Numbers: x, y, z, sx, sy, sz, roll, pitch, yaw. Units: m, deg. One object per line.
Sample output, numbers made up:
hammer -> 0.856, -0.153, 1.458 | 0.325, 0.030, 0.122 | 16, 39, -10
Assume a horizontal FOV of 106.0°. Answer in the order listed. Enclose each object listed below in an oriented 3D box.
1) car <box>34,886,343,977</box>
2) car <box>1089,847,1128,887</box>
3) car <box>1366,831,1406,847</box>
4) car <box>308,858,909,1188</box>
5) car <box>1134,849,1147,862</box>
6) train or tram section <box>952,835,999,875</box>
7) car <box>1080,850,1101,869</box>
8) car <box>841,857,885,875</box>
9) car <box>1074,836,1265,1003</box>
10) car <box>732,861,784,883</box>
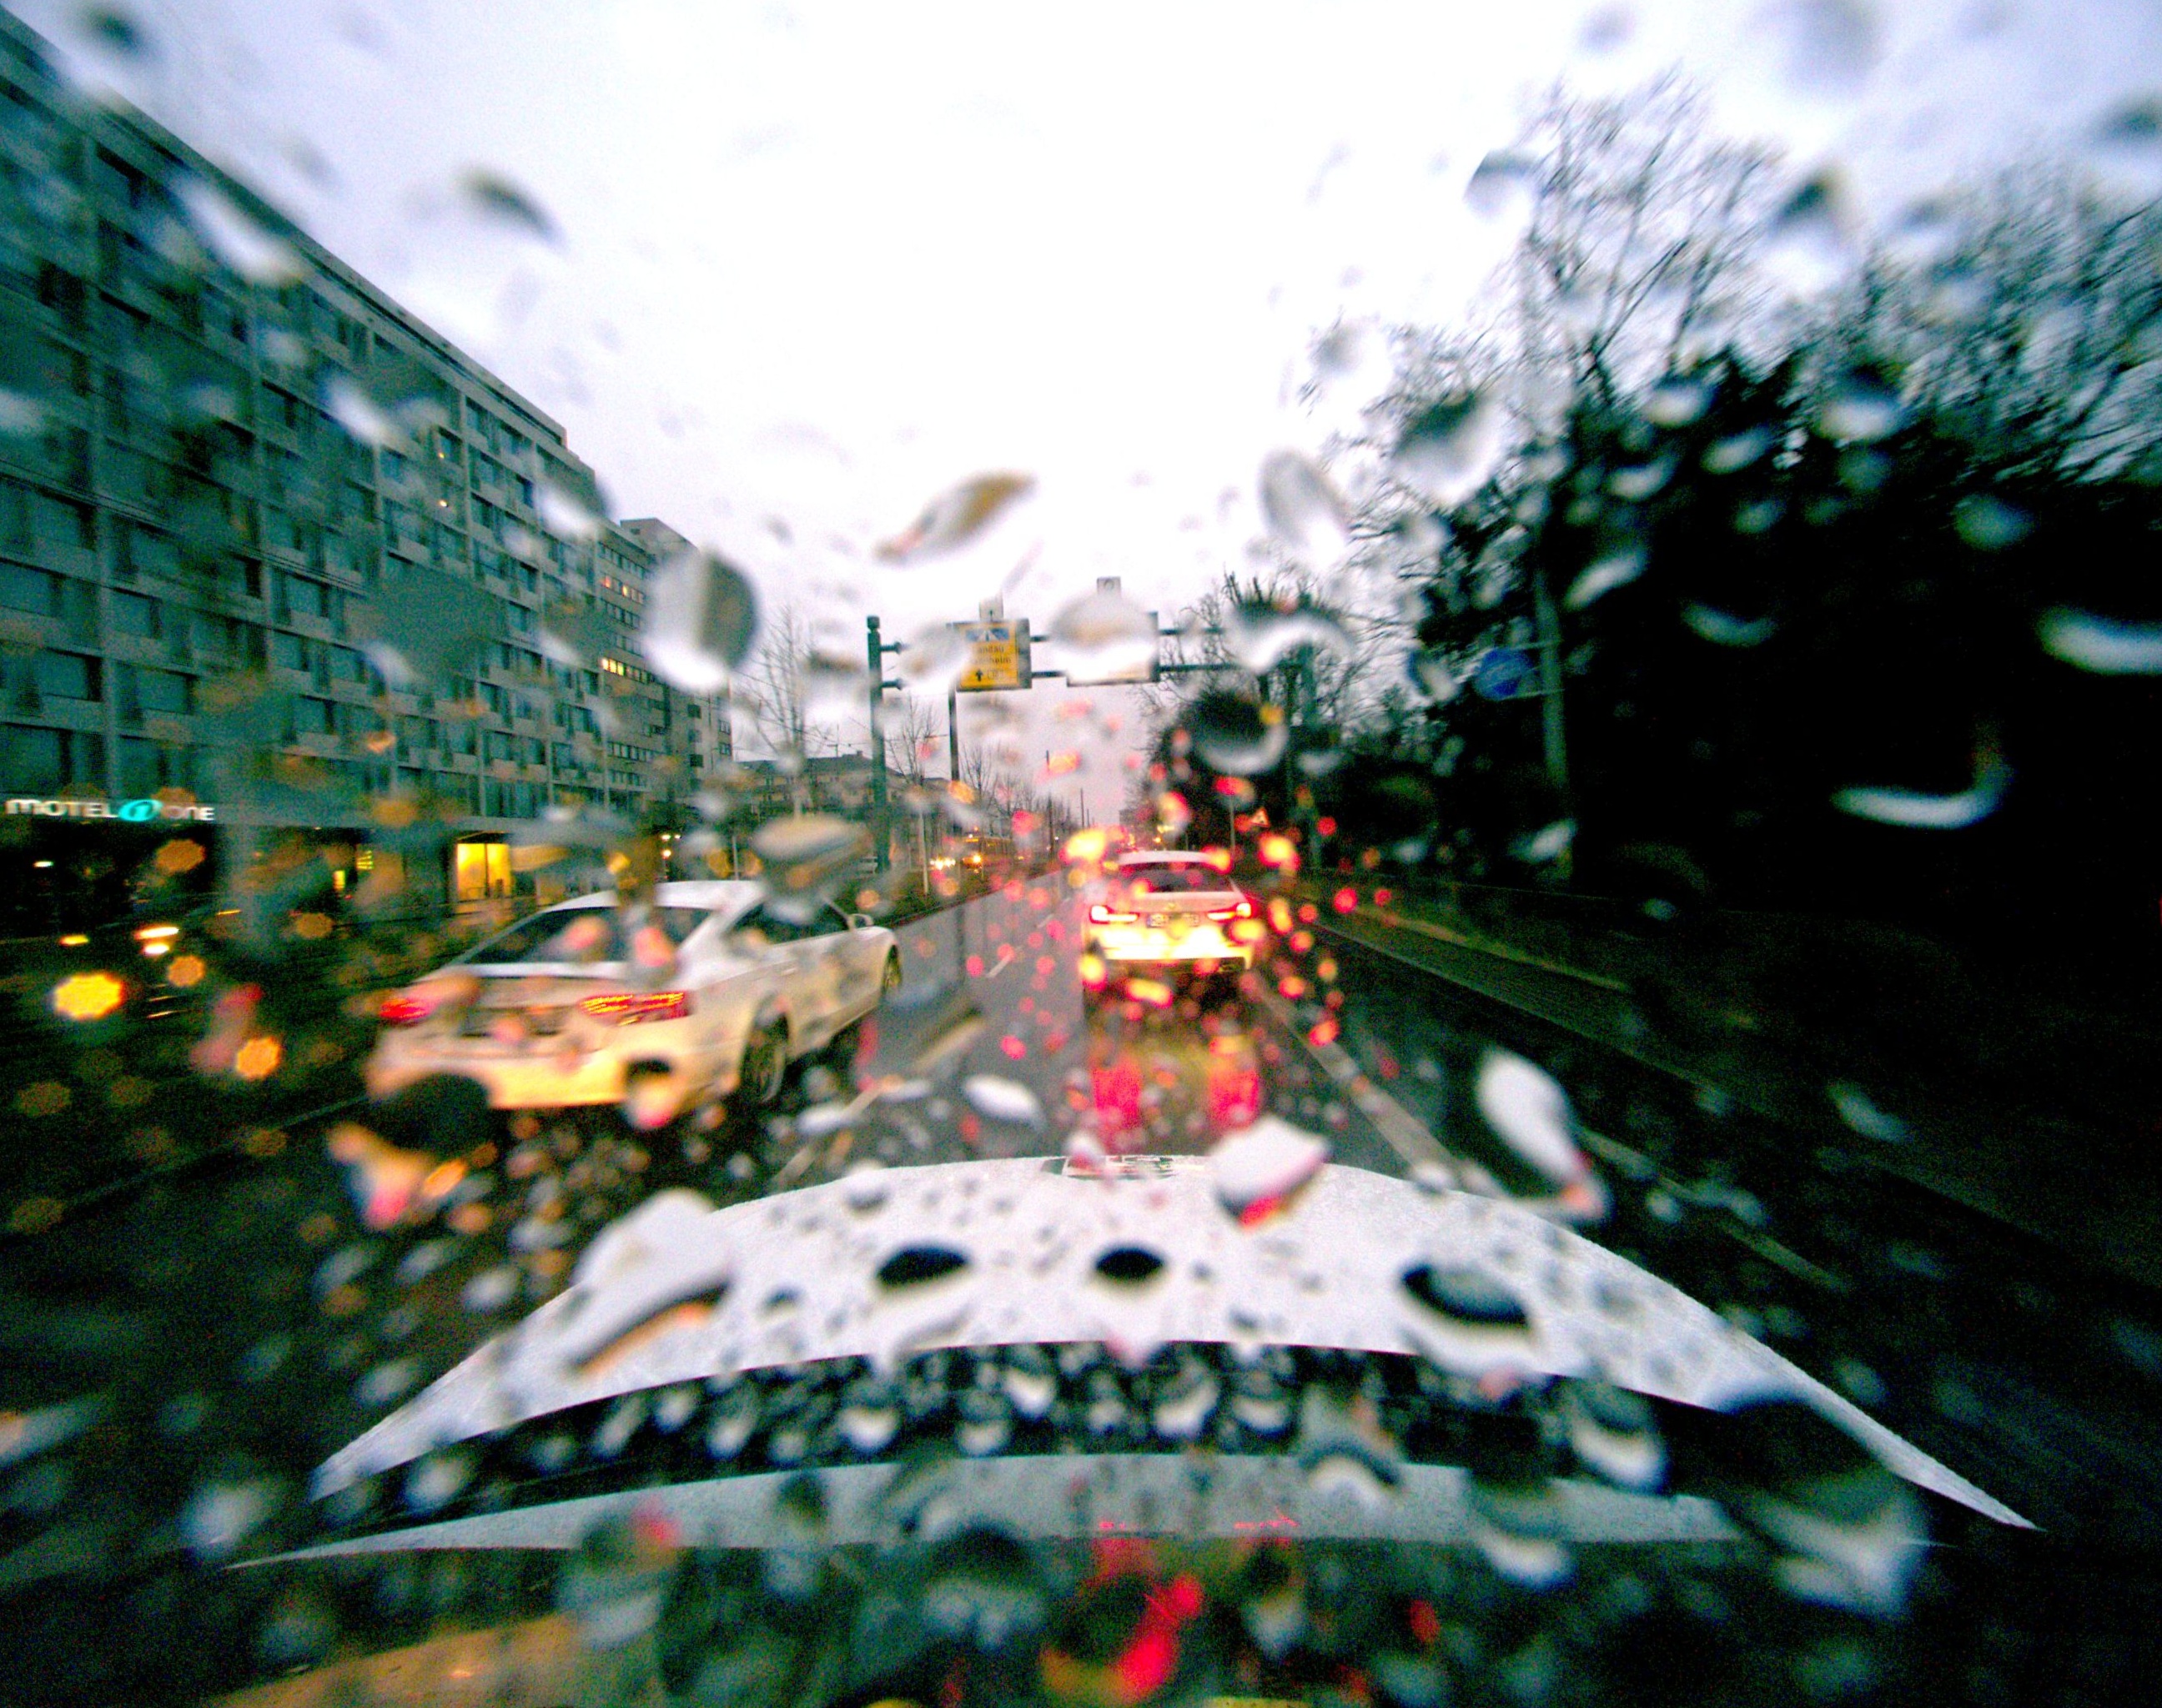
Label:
car -> -19.296, 1.567, 18.077 | 1.995, 1.462, 5.074 | -1, 0, -12
car -> 1.529, 0.674, 44.531 | 1.986, 2.013, 4.002 | -1, 0, 2
car -> 34.738, -1.712, 92.794 | 1.825, 1.662, 3.958 | -1, 0, -33
car -> -2.659, 0.800, 5.927 | 1.753, 1.469, 4.253 | -1, 0, 2
car -> 9.437, 0.237, 129.442 | 1.986, 2.013, 4.002 | -1, 0, 2
train or tram section -> -10.159, 0.065, 79.479 | 2.831, 3.504, 9.163 | -4, 0, 2
car -> 1.045, 0.570, 87.160 | 1.986, 2.013, 4.002 | -1, 0, 2
car -> -27.128, 1.486, 101.473 | 4.909, 2.013, 1.977 | -3, 1, -39
car -> 0.836, 0.619, 9.935 | 1.755, 1.552, 4.249 | -1, 0, -1
car -> -28.730, 1.574, 72.411 | 3.839, 1.797, 1.888 | -3, 1, -39
